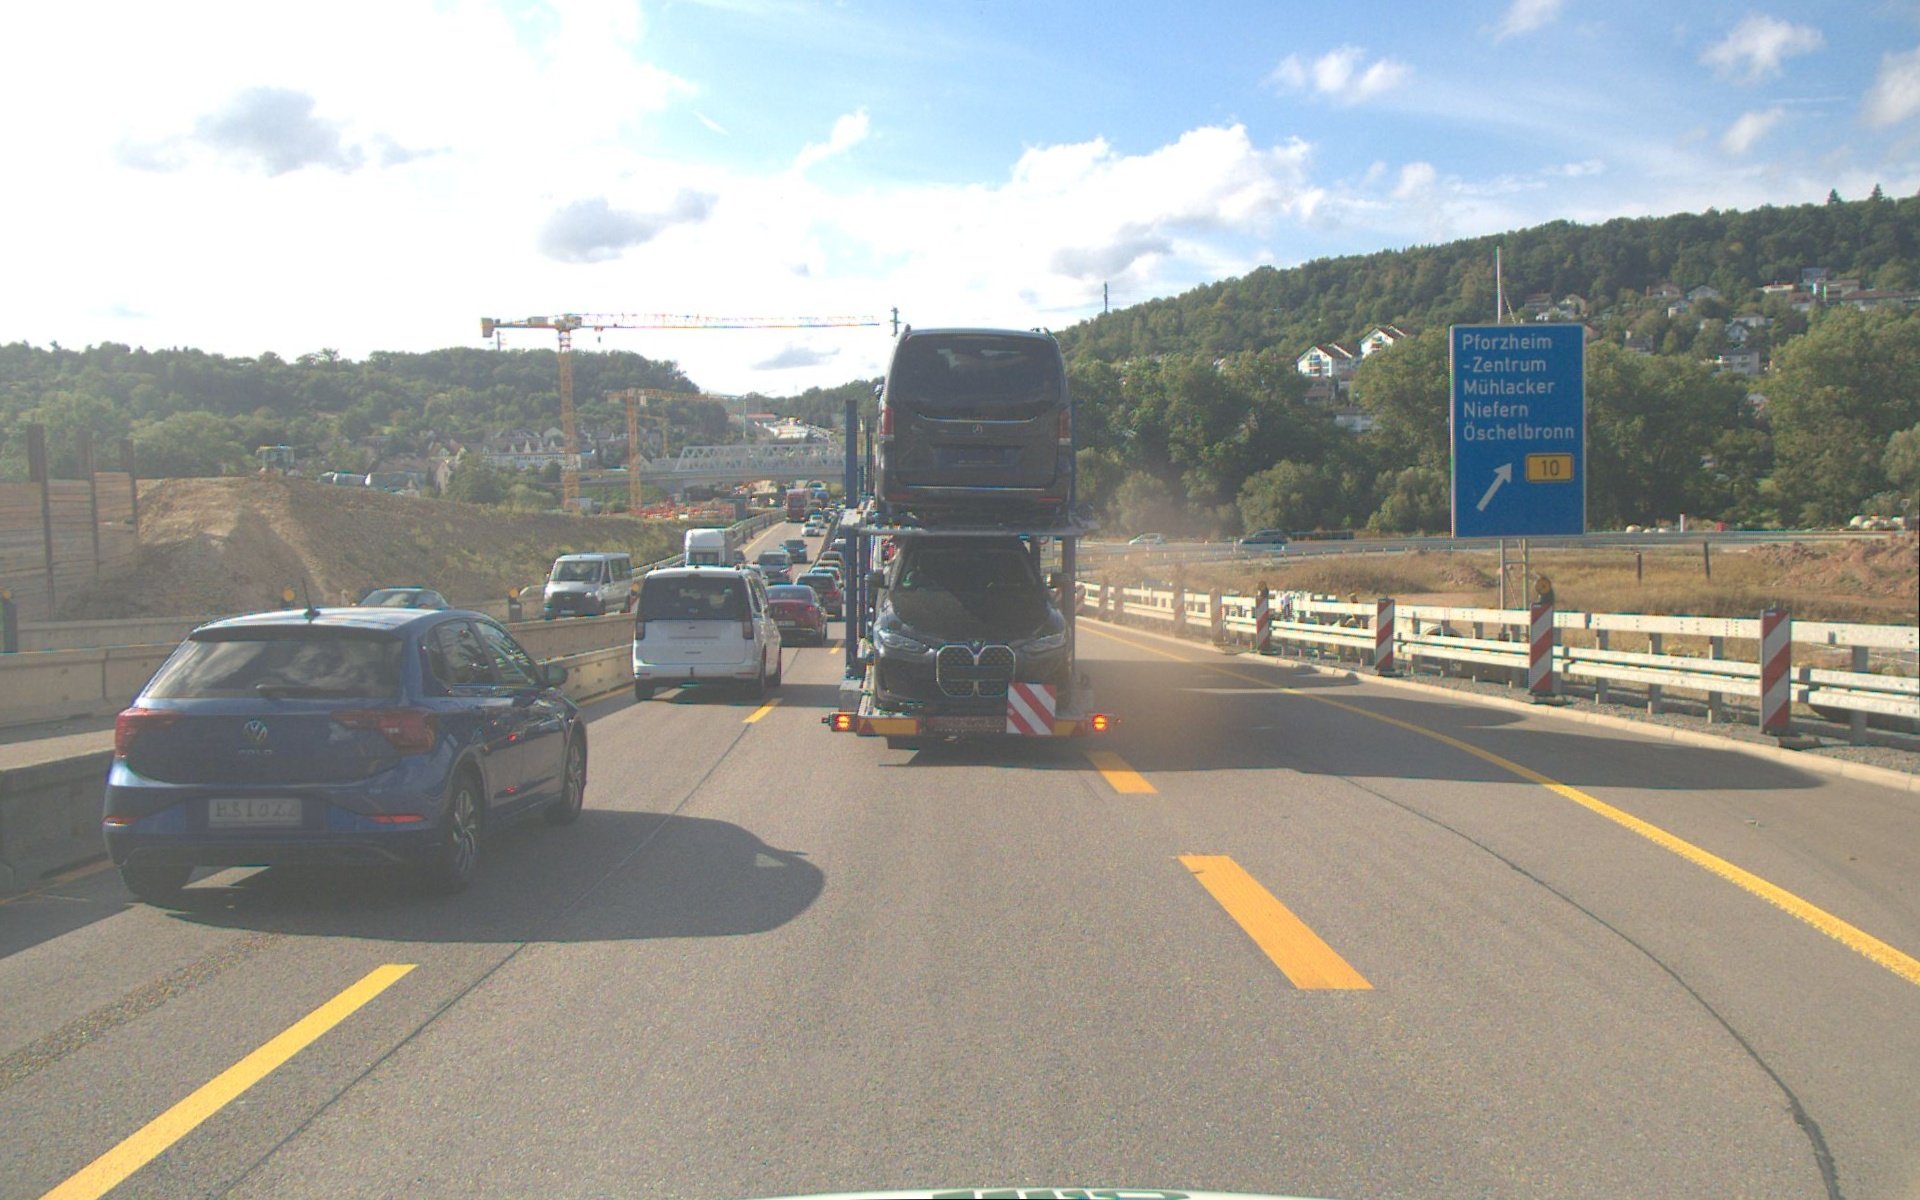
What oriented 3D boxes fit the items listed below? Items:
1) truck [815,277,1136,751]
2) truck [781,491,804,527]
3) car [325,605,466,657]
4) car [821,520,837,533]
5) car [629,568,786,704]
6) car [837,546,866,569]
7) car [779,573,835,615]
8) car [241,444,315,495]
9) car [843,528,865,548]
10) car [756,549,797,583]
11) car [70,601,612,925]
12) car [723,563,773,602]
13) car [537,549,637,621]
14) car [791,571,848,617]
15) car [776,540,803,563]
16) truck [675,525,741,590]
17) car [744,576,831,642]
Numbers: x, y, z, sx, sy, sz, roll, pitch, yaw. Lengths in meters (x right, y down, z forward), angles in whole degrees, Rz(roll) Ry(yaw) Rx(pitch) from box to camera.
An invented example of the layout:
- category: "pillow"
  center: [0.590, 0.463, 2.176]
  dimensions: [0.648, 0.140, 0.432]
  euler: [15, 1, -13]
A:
- category: "truck"
  center: [-0.121, -0.685, 23.644]
  dimensions: [2.697, 4.024, 18.882]
  euler: [1, 0, -2]
- category: "truck"
  center: [-21.555, -11.680, 212.963]
  dimensions: [2.858, 4.463, 6.280]
  euler: [1, 1, -5]
- category: "car"
  center: [-14.467, 0.769, 42.629]
  dimensions: [1.879, 1.295, 4.003]
  euler: [0, 0, 7]
- category: "car"
  center: [-15.765, -8.890, 198.943]
  dimensions: [1.718, 1.465, 3.804]
  euler: [0, 1, -1]
- category: "car"
  center: [-3.609, 0.496, 24.265]
  dimensions: [1.786, 1.823, 3.999]
  euler: [0, 0, -2]
- category: "car"
  center: [-7.956, -3.094, 121.859]
  dimensions: [1.953, 1.579, 3.999]
  euler: [0, 0, -1]
- category: "car"
  center: [-6.009, -0.222, 65.419]
  dimensions: [1.953, 1.579, 3.999]
  euler: [0, 0, -1]
- category: "car"
  center: [-37.348, -7.105, 90.735]
  dimensions: [1.955, 2.177, 5.318]
  euler: [-5, 0, -3]
- category: "car"
  center: [-9.477, -5.481, 147.370]
  dimensions: [1.808, 1.677, 4.500]
  euler: [0, 1, -5]
- category: "car"
  center: [-10.341, -1.917, 93.431]
  dimensions: [2.084, 1.796, 5.026]
  euler: [-2, 1, -5]
- category: "car"
  center: [-3.273, 0.750, 9.627]
  dimensions: [1.687, 1.447, 3.999]
  euler: [-1, 0, -1]
- category: "car"
  center: [-9.885, -0.831, 77.389]
  dimensions: [2.084, 1.703, 4.268]
  euler: [-2, 1, -5]
- category: "car"
  center: [-13.280, -0.502, 59.217]
  dimensions: [2.212, 2.444, 5.867]
  euler: [0, 0, 0]
- category: "car"
  center: [-5.001, -0.190, 58.478]
  dimensions: [1.955, 1.579, 3.995]
  euler: [0, 0, -6]
- category: "car"
  center: [-13.187, -3.753, 128.227]
  dimensions: [1.815, 1.664, 4.746]
  euler: [-1, 1, -3]
- category: "truck"
  center: [-13.997, -2.304, 92.382]
  dimensions: [2.646, 3.369, 7.535]
  euler: [0, 0, -1]
- category: "car"
  center: [-4.343, 0.232, 42.104]
  dimensions: [1.954, 1.584, 4.398]
  euler: [0, 0, -3]
